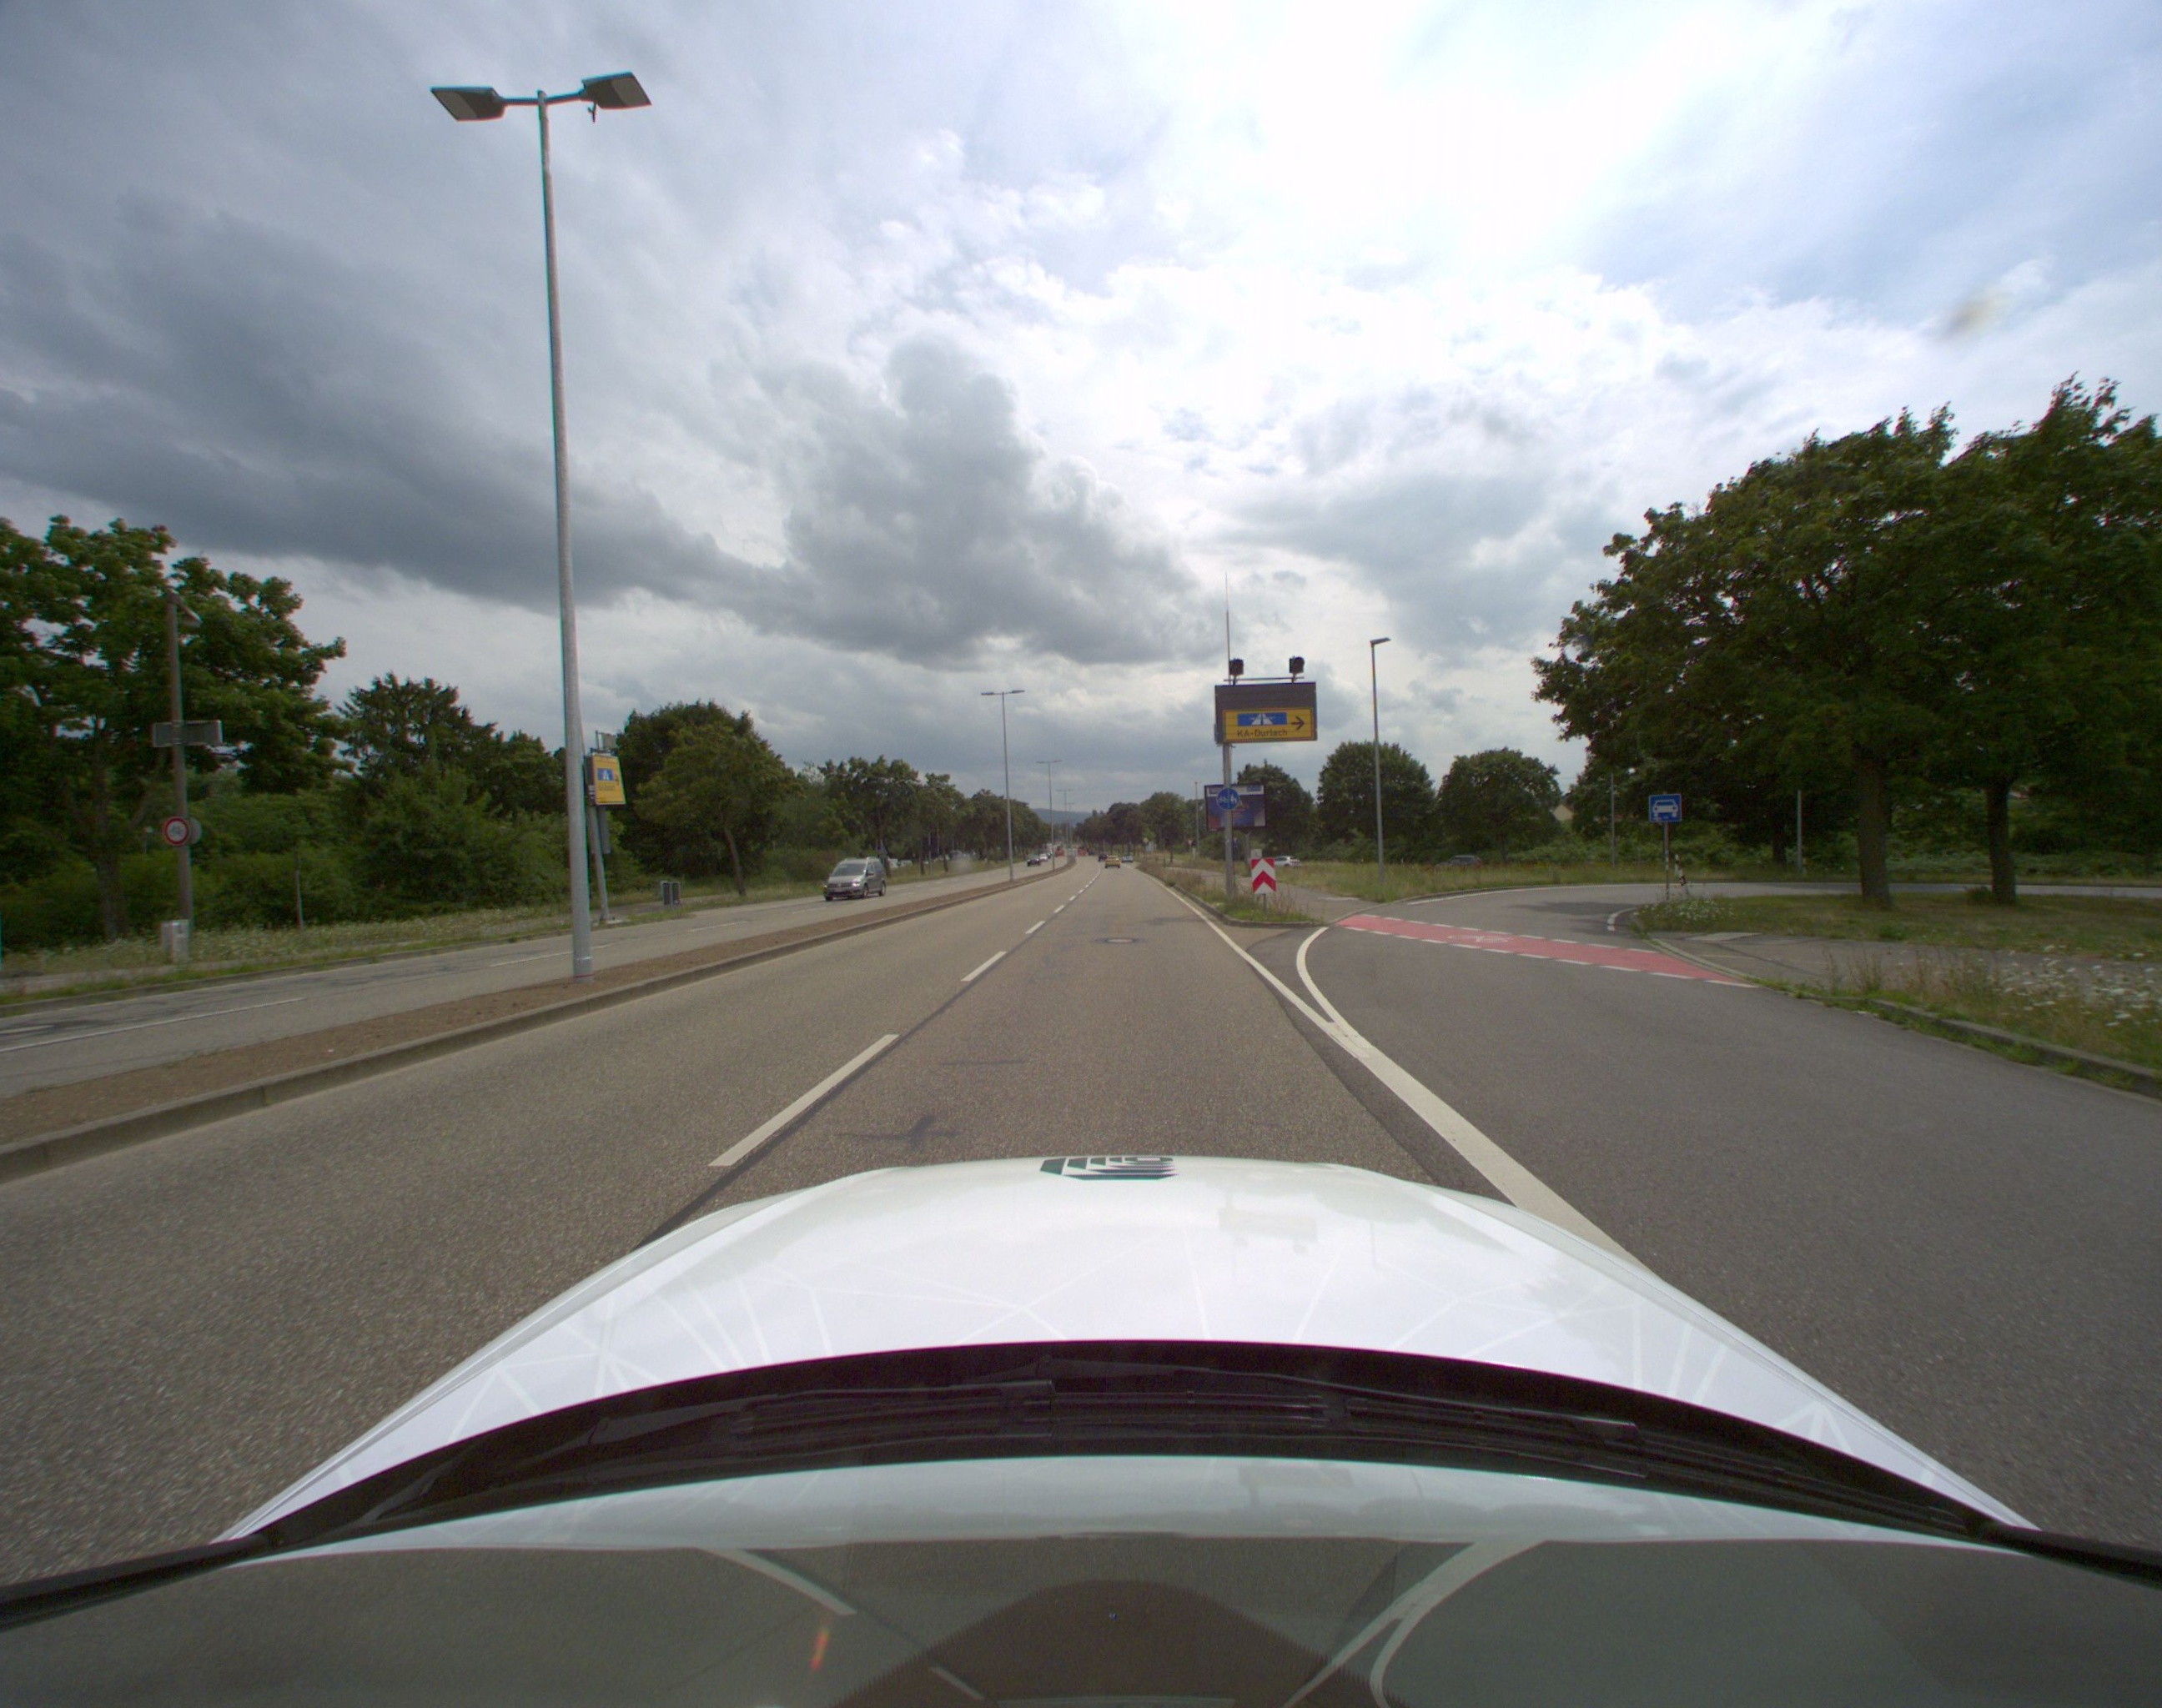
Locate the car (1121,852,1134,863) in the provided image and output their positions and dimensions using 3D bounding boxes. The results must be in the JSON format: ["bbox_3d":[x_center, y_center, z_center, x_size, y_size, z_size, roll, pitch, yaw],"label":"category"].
[{"bbox_3d":[7.662,0.527,134.789,2.007,1.670,4.001,-2,1,1],"label":"car"}]

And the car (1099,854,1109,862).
[{"bbox_3d":[4.104,0.636,144.743,1.661,1.269,4.001,-2,1,1],"label":"car"}]

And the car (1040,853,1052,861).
[{"bbox_3d":[-7.149,0.600,166.544,1.986,1.430,4.691,-3,0,2],"label":"car"}]

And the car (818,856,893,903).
[{"bbox_3d":[-10.004,1.075,36.496,1.895,1.809,4.542,-2,1,2],"label":"car"}]

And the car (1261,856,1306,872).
[{"bbox_3d":[19.809,1.005,79.746,3.949,1.464,1.783,-1,1,43],"label":"car"}]

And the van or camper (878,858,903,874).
[{"bbox_3d":[-32.306,1.998,138.134,2.463,2.540,6.721,-2,1,0],"label":"van or camper"}]

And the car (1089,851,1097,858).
[{"bbox_3d":[3.203,0.223,220.284,2.198,1.683,4.002,-2,1,2],"label":"car"}]

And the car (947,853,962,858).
[{"bbox_3d":[-35.659,0.461,229.849,3.759,1.425,1.967,-2,1,1],"label":"car"}]

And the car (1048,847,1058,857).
[{"bbox_3d":[-6.629,-0.527,194.279,2.088,2.201,6.004,-3,0,0],"label":"car"}]

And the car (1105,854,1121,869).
[{"bbox_3d":[3.841,0.901,97.765,1.787,1.562,4.001,-2,1,1],"label":"car"}]

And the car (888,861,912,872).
[{"bbox_3d":[-33.688,2.345,151.733,3.975,1.887,1.939,-2,1,-1],"label":"car"}]

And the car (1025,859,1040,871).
[{"bbox_3d":[-7.871,1.742,132.108,1.986,1.811,4.799,-3,1,1],"label":"car"}]

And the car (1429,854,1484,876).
[{"bbox_3d":[30.751,0.896,66.737,3.949,1.668,1.720,0,1,30],"label":"car"}]
